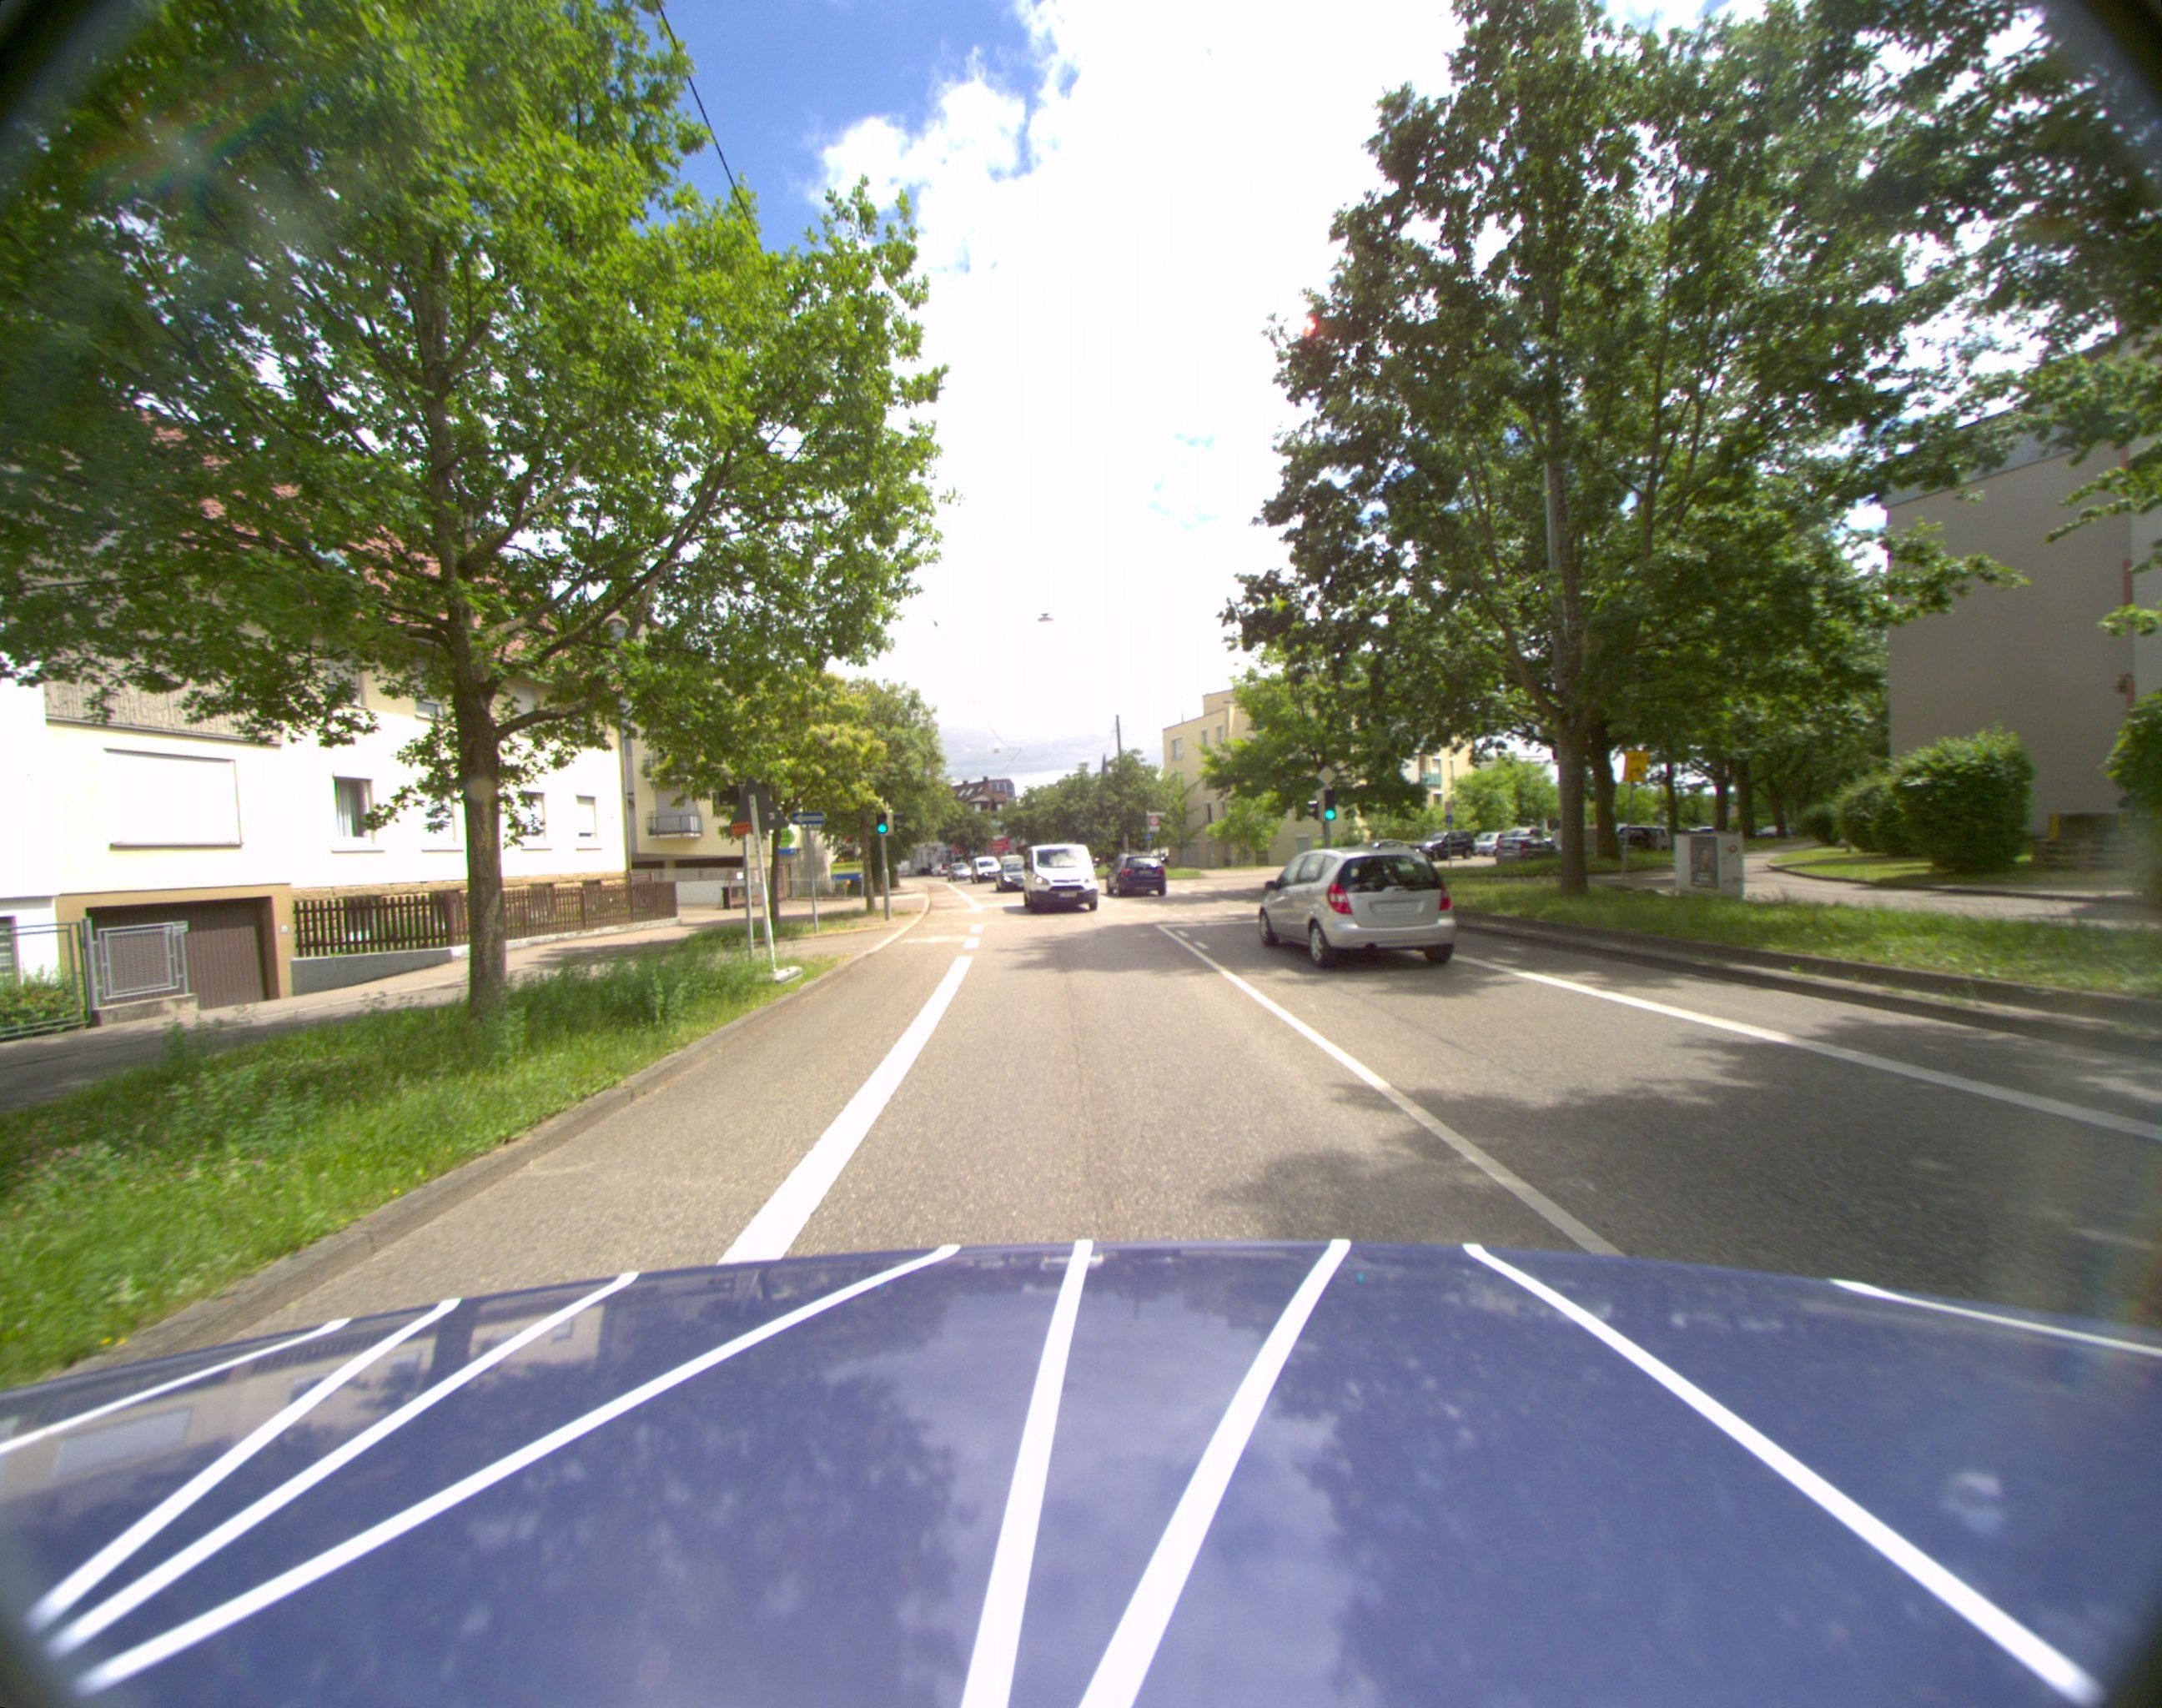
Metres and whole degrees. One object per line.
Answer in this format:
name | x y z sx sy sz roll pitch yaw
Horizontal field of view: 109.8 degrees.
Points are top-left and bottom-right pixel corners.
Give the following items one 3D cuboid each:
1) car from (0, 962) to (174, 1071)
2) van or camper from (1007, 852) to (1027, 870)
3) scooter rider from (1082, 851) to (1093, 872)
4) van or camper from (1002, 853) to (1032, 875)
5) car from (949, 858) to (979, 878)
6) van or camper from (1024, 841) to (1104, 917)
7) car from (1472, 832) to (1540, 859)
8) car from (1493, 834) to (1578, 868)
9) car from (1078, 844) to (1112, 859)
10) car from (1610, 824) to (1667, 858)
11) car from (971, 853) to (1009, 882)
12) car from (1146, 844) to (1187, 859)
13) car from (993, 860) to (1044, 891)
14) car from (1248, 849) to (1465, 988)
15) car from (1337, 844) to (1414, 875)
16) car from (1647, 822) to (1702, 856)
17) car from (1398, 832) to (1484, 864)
car | -14.829 2.329 9.722 1.465 1.118 3.872 -5 2 7
van or camper | -8.155 0.901 96.388 1.795 2.077 3.807 -6 2 -12
scooter rider | 0.651 0.774 76.911 0.679 2.002 0.793 -6 2 -14
van or camper | -5.568 0.852 65.569 1.867 1.766 4.375 -3 0 -13
car | -10.192 1.199 65.843 1.695 1.478 3.993 -6 2 -20
van or camper | -0.660 0.709 23.768 2.028 2.002 5.100 -3 0 -6
car | 27.504 -0.551 49.151 4.004 1.325 1.970 -6 2 -28
car | 21.646 -0.167 36.145 4.005 1.444 1.692 -3 2 -29
car | 1.798 -0.374 96.855 3.980 1.672 1.715 -3 1 -18
car | 33.170 -0.787 45.149 2.121 1.783 4.426 -3 0 44
car | -6.555 0.942 54.531 1.854 1.805 3.994 -6 2 -17
car | 8.528 -0.244 75.453 4.008 1.411 1.789 -1 -2 -43
car | -3.130 1.044 37.237 1.842 1.382 3.996 -3 -1 -14
car | 3.809 0.788 11.286 1.712 1.608 4.000 -3 0 0
car | 16.958 0.308 43.703 4.156 1.390 1.734 -6 2 -26
car | 37.218 -0.971 47.604 4.005 1.725 1.651 -6 2 -37
car | 21.783 -0.384 45.940 4.797 1.594 2.097 -5 3 -26
